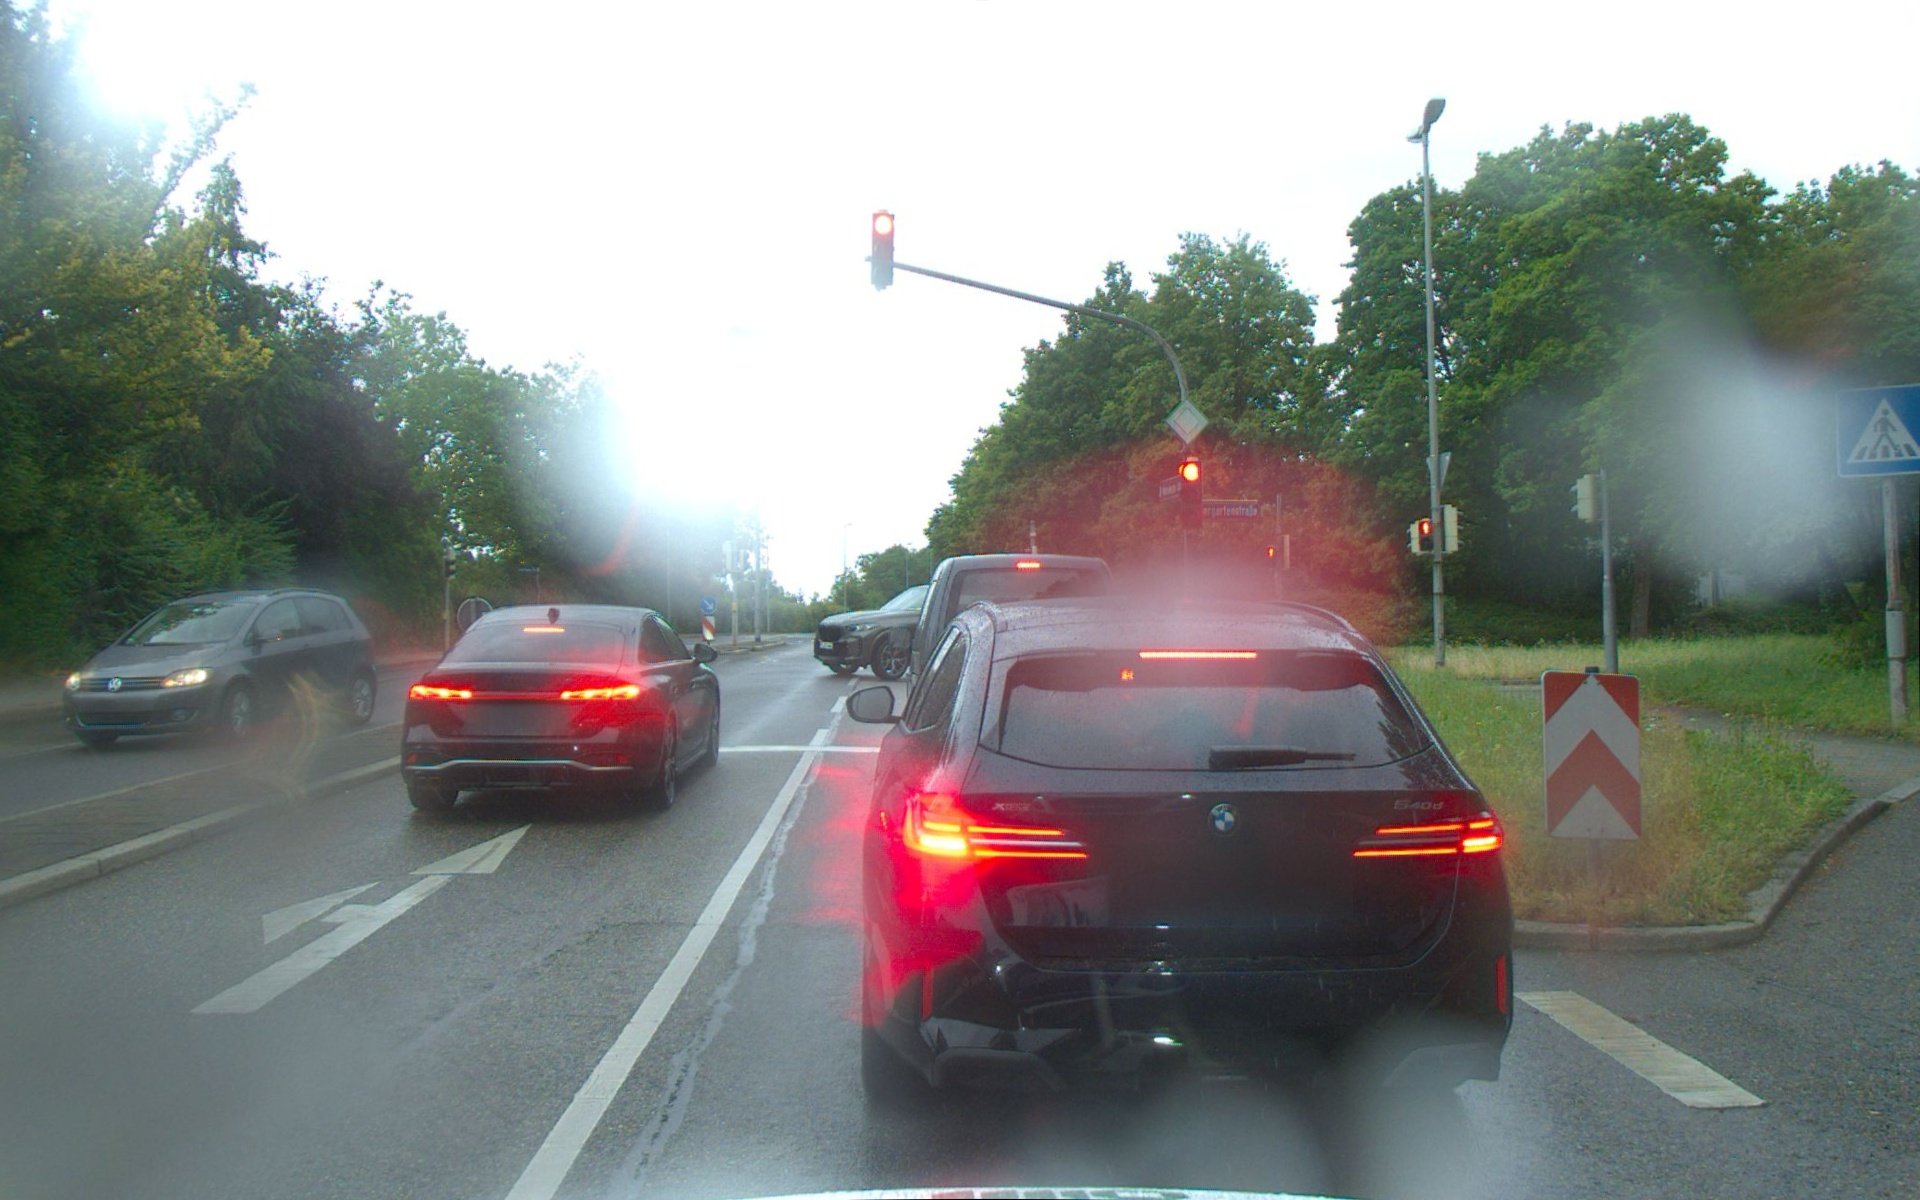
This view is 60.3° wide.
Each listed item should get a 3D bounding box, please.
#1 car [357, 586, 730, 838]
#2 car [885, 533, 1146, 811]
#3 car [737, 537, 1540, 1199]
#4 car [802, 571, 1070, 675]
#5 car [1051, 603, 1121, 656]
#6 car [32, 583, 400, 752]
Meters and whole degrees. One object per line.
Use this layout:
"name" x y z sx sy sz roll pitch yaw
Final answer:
"car" -3.000 0.745 12.918 1.954 1.554 4.325 -2 0 -3
"car" 0.374 0.510 13.359 1.781 1.901 3.952 0 0 0
"car" 0.521 0.689 6.170 1.858 1.578 4.616 1 -1 3
"car" -0.449 0.396 31.083 4.641 1.747 1.985 -2 0 -25
"car" 3.962 0.913 52.475 1.835 1.569 3.952 -2 0 0
"car" -8.052 0.658 18.348 1.705 1.630 4.035 -2 0 10
